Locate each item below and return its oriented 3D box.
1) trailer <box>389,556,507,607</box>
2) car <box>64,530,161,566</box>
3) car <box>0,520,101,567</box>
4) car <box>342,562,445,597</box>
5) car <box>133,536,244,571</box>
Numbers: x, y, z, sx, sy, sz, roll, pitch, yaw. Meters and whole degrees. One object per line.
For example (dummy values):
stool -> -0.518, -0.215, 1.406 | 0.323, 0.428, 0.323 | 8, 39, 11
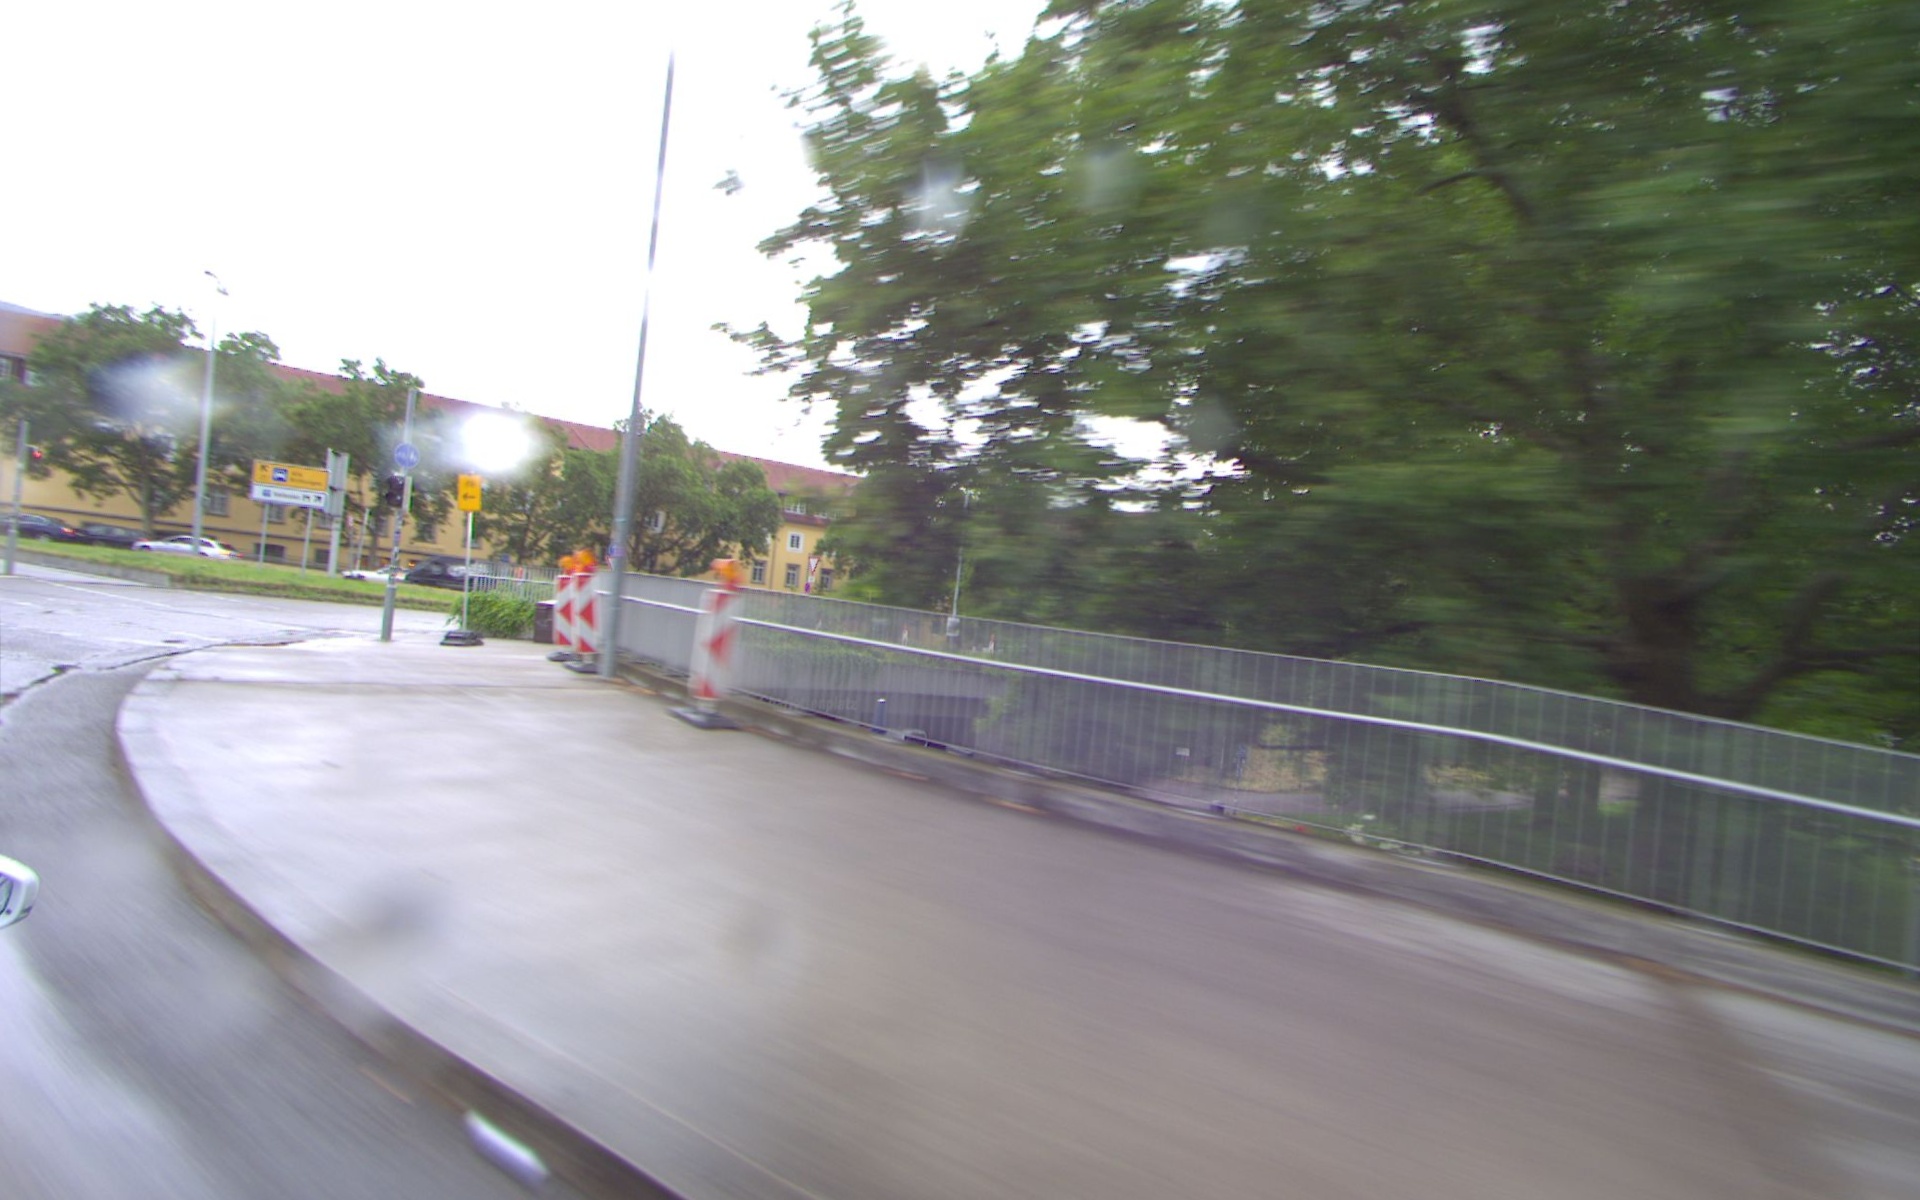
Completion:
trailer -> -28.155, -0.953, 55.436 | 5.427, 2.284, 1.982 | 6, -2, -37
car -> -45.391, -2.754, 53.975 | 3.566, 1.351, 1.568 | 8, -3, -28
car -> -45.854, -2.845, 49.620 | 4.751, 1.728, 1.993 | 8, -3, -21
car -> -34.135, -1.227, 60.729 | 5.249, 1.376, 1.546 | 8, -3, -31
car -> -39.985, -2.377, 52.218 | 4.302, 1.152, 1.542 | 7, -3, -6
